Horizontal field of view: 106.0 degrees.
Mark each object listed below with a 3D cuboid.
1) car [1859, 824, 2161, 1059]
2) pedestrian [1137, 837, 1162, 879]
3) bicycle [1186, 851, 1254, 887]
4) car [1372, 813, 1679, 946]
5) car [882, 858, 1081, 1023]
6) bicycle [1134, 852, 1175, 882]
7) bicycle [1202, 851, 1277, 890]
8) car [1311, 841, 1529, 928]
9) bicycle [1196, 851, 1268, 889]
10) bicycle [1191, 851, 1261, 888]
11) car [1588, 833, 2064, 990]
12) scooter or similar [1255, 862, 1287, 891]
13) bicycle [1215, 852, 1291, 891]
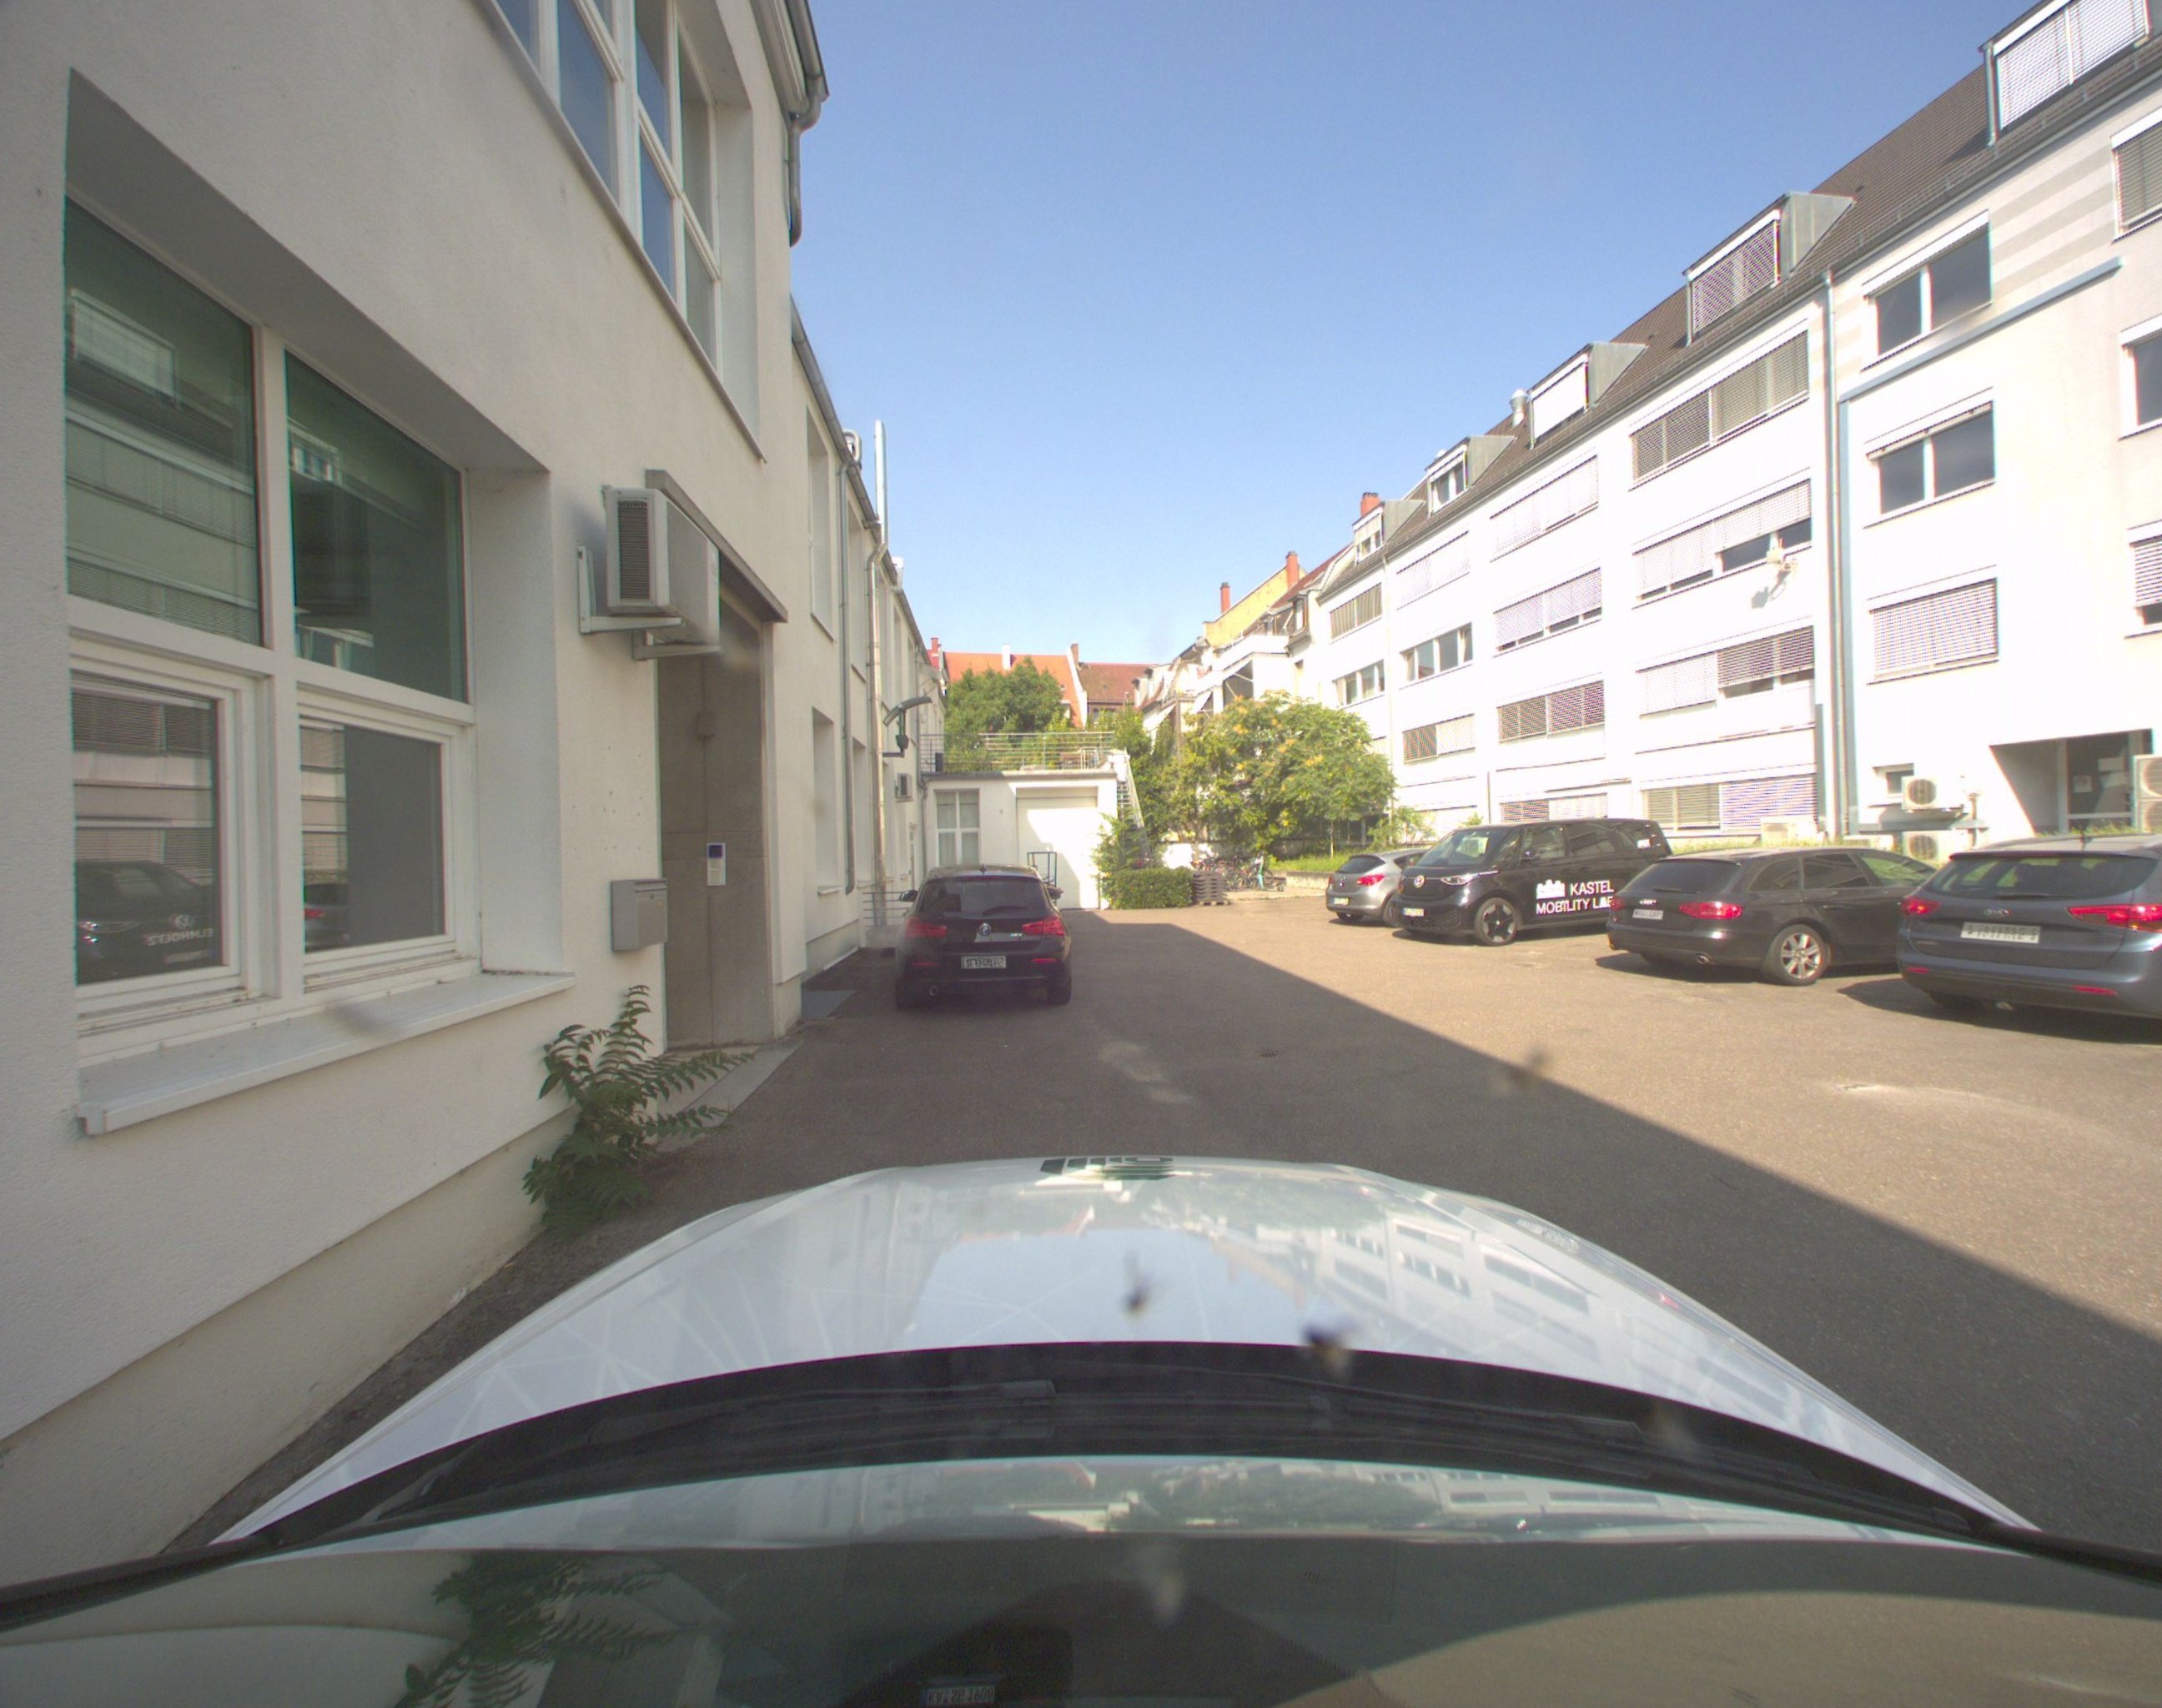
[{"bbox_3d":[8.856,0.515,6.539,4.048,1.478,1.736,-2,1,-11],"label":"car"},{"bbox_3d":[2.900,0.175,34.598,0.615,1.771,0.850,-1,0,-44],"label":"pedestrian"},{"bbox_3d":[5.059,0.552,29.691,2.408,1.246,0.525,-1,0,-6],"label":"bicycle"},{"bbox_3d":[7.293,0.341,13.469,4.343,1.859,1.905,-2,1,-16],"label":"car"},{"bbox_3d":[-1.187,0.788,9.541,1.792,1.428,4.124,-1,0,-8],"label":"car"},{"bbox_3d":[3.102,0.544,34.371,2.005,1.143,0.484,-4,1,-44],"label":"bicycle"},{"bbox_3d":[5.361,0.542,27.587,2.408,1.246,0.525,-1,0,-6],"label":"bicycle"},{"bbox_3d":[6.779,0.554,16.327,3.909,1.466,1.652,-2,1,-19],"label":"car"},{"bbox_3d":[5.246,0.540,28.368,2.408,1.246,0.525,-1,0,-6],"label":"bicycle"},{"bbox_3d":[5.148,0.539,28.994,2.408,1.246,0.525,-1,0,-6],"label":"bicycle"},{"bbox_3d":[8.344,0.564,9.289,4.230,1.437,1.686,-2,1,-8],"label":"car"},{"bbox_3d":[6.216,0.720,26.647,0.362,0.924,0.987,-1,0,-43],"label":"scooter or similar"},{"bbox_3d":[5.675,0.567,26.962,2.408,1.246,0.525,-1,0,-6],"label":"bicycle"}]
